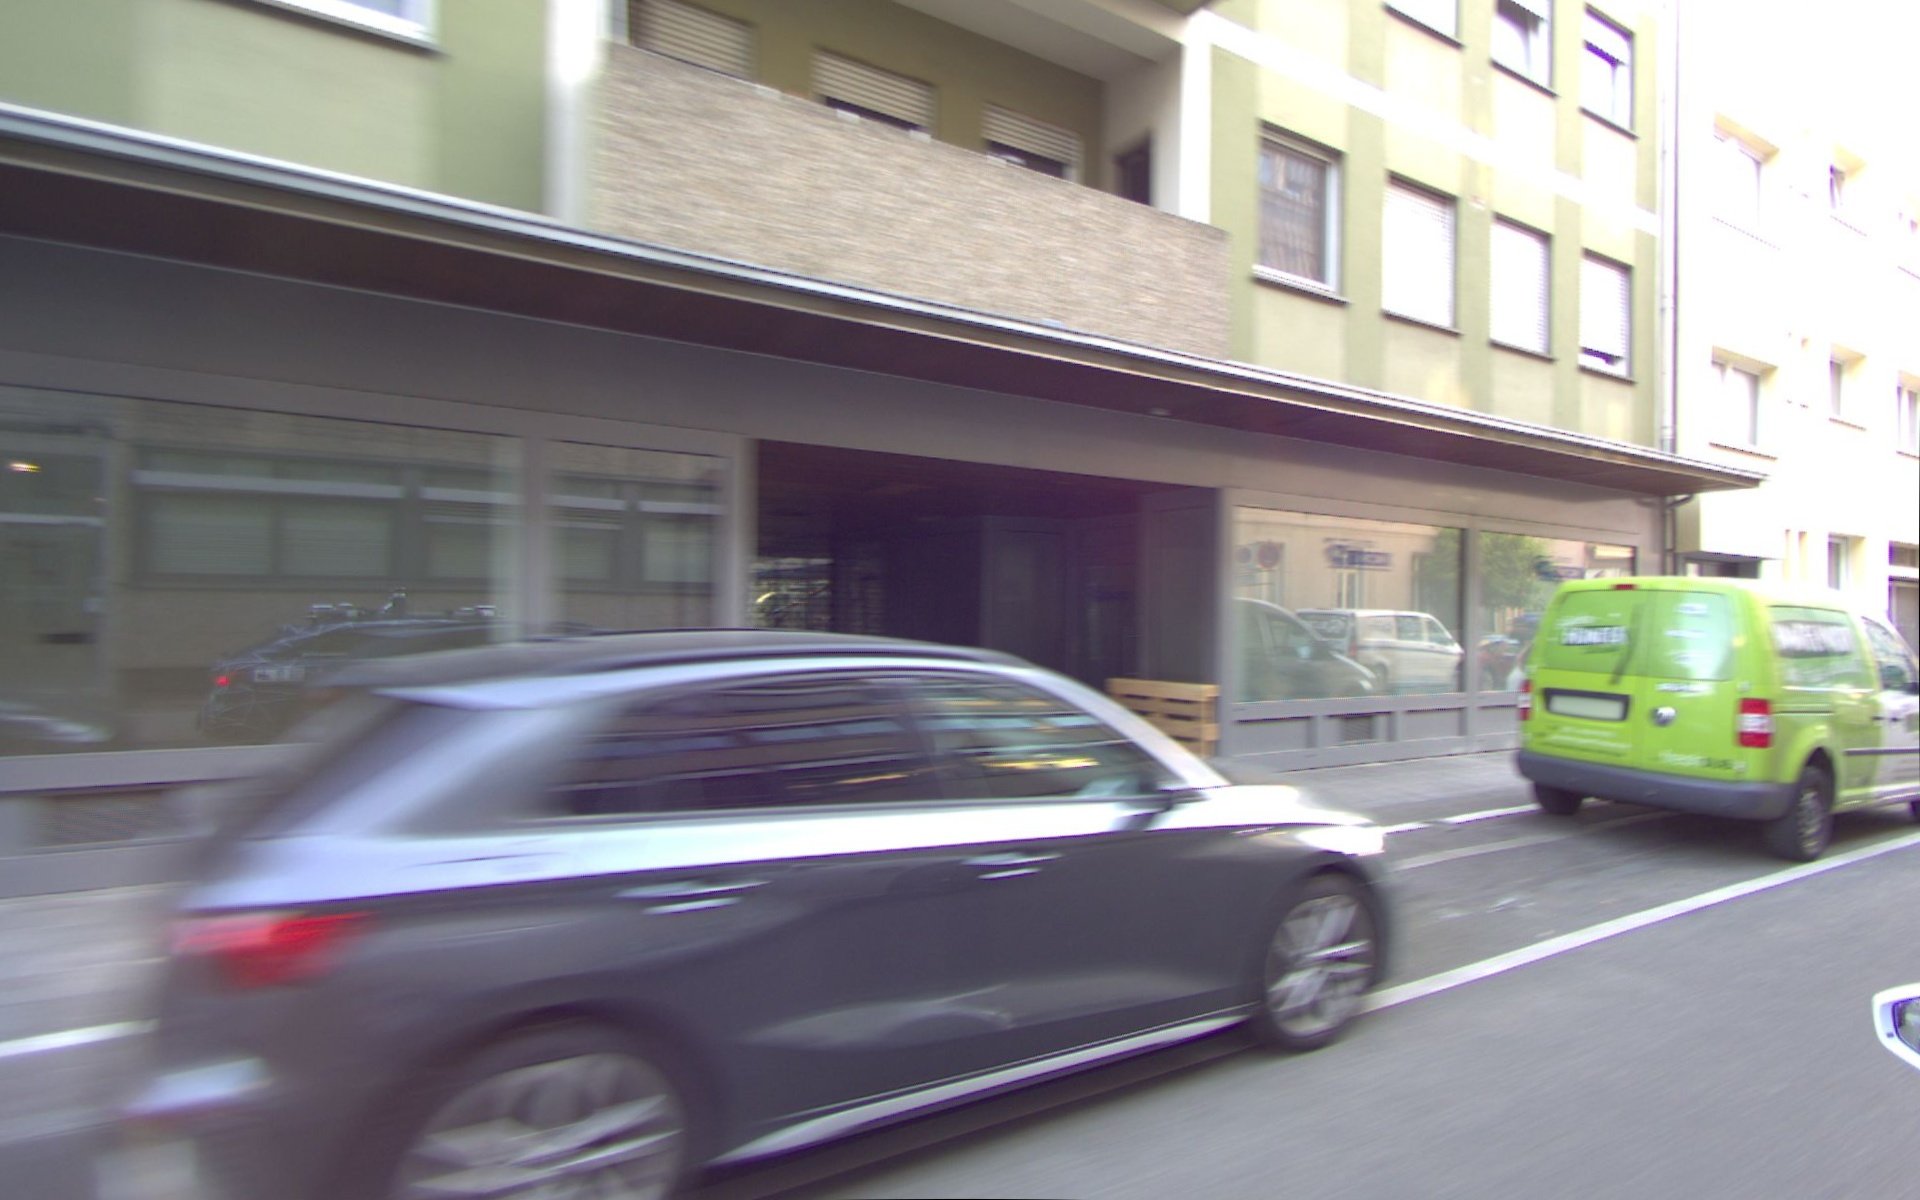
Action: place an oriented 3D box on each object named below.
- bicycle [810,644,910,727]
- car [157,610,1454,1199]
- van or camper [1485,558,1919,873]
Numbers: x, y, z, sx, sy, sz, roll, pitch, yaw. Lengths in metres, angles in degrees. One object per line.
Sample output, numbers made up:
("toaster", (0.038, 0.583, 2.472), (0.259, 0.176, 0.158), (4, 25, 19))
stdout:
("bicycle", (-1.337, 1.085, 13.167), (0.493, 0.952, 1.682), (2, -1, -37))
("car", (-0.168, 0.805, 3.503), (3.938, 1.435, 1.614), (2, -1, -33))
("van or camper", (6.132, 0.744, 7.811), (4.130, 1.872, 1.763), (1, -2, -31))
